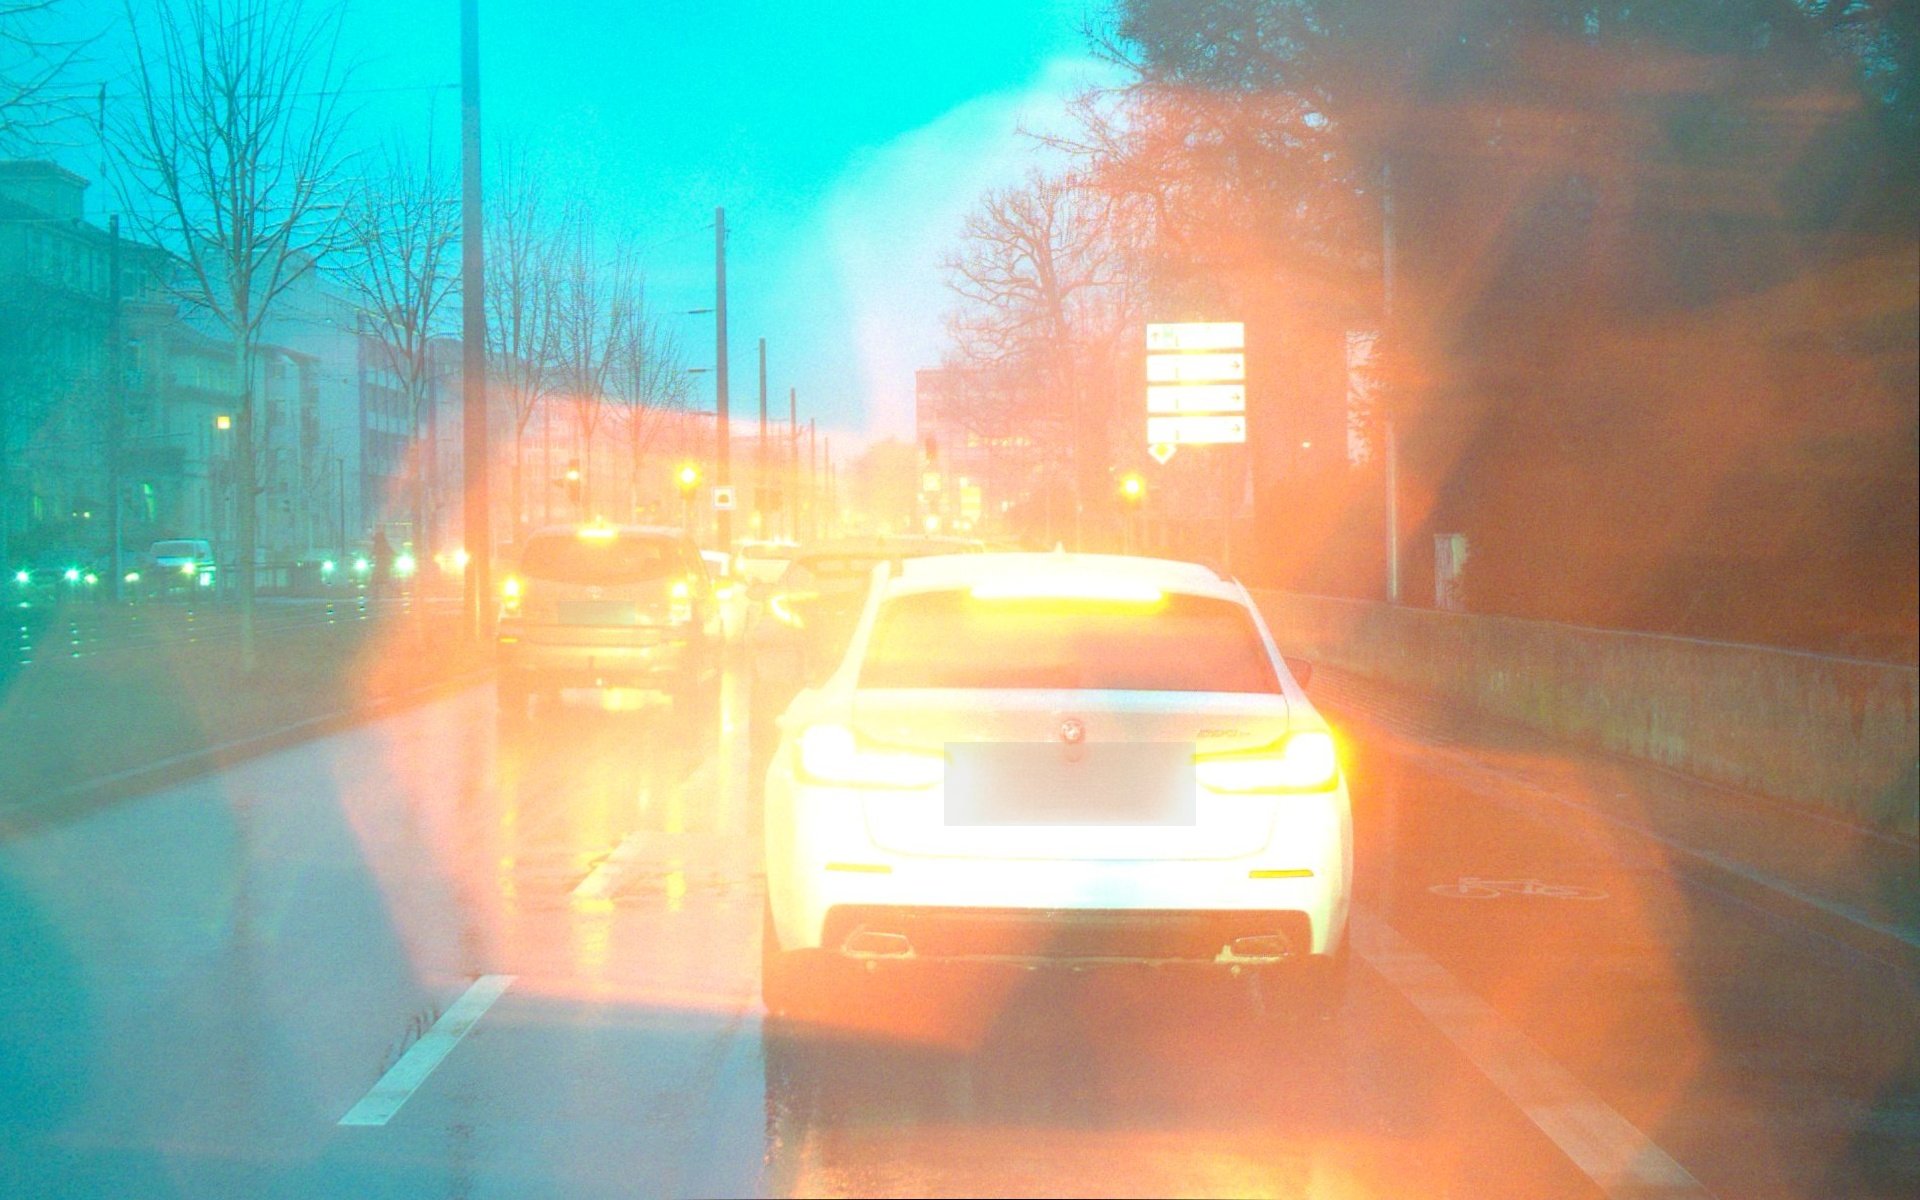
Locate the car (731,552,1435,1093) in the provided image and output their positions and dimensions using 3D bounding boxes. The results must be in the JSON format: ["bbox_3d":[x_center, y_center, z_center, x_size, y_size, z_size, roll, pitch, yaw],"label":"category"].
[{"bbox_3d":[0.338,0.607,11.894,1.999,1.503,4.164,0,1,0],"label":"car"}]

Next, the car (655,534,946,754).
[{"bbox_3d":[-1.079,0.253,25.070,1.936,1.452,4.164,0,1,0],"label":"car"}]

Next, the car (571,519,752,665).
[{"bbox_3d":[-3.755,-0.126,43.827,1.993,1.749,4.000,1,1,-1],"label":"car"}]

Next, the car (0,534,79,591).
[{"bbox_3d":[-28.534,-1.169,105.729,1.895,1.713,4.917,0,1,-4],"label":"car"}]

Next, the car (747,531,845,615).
[{"bbox_3d":[-3.321,-0.568,70.294,1.806,1.640,4.000,1,1,0],"label":"car"}]

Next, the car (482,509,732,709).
[{"bbox_3d":[-3.060,0.031,30.530,1.806,1.640,4.000,1,1,0],"label":"car"}]

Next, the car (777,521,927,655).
[{"bbox_3d":[-1.357,-0.191,44.424,1.806,1.640,4.000,1,1,0],"label":"car"}]
